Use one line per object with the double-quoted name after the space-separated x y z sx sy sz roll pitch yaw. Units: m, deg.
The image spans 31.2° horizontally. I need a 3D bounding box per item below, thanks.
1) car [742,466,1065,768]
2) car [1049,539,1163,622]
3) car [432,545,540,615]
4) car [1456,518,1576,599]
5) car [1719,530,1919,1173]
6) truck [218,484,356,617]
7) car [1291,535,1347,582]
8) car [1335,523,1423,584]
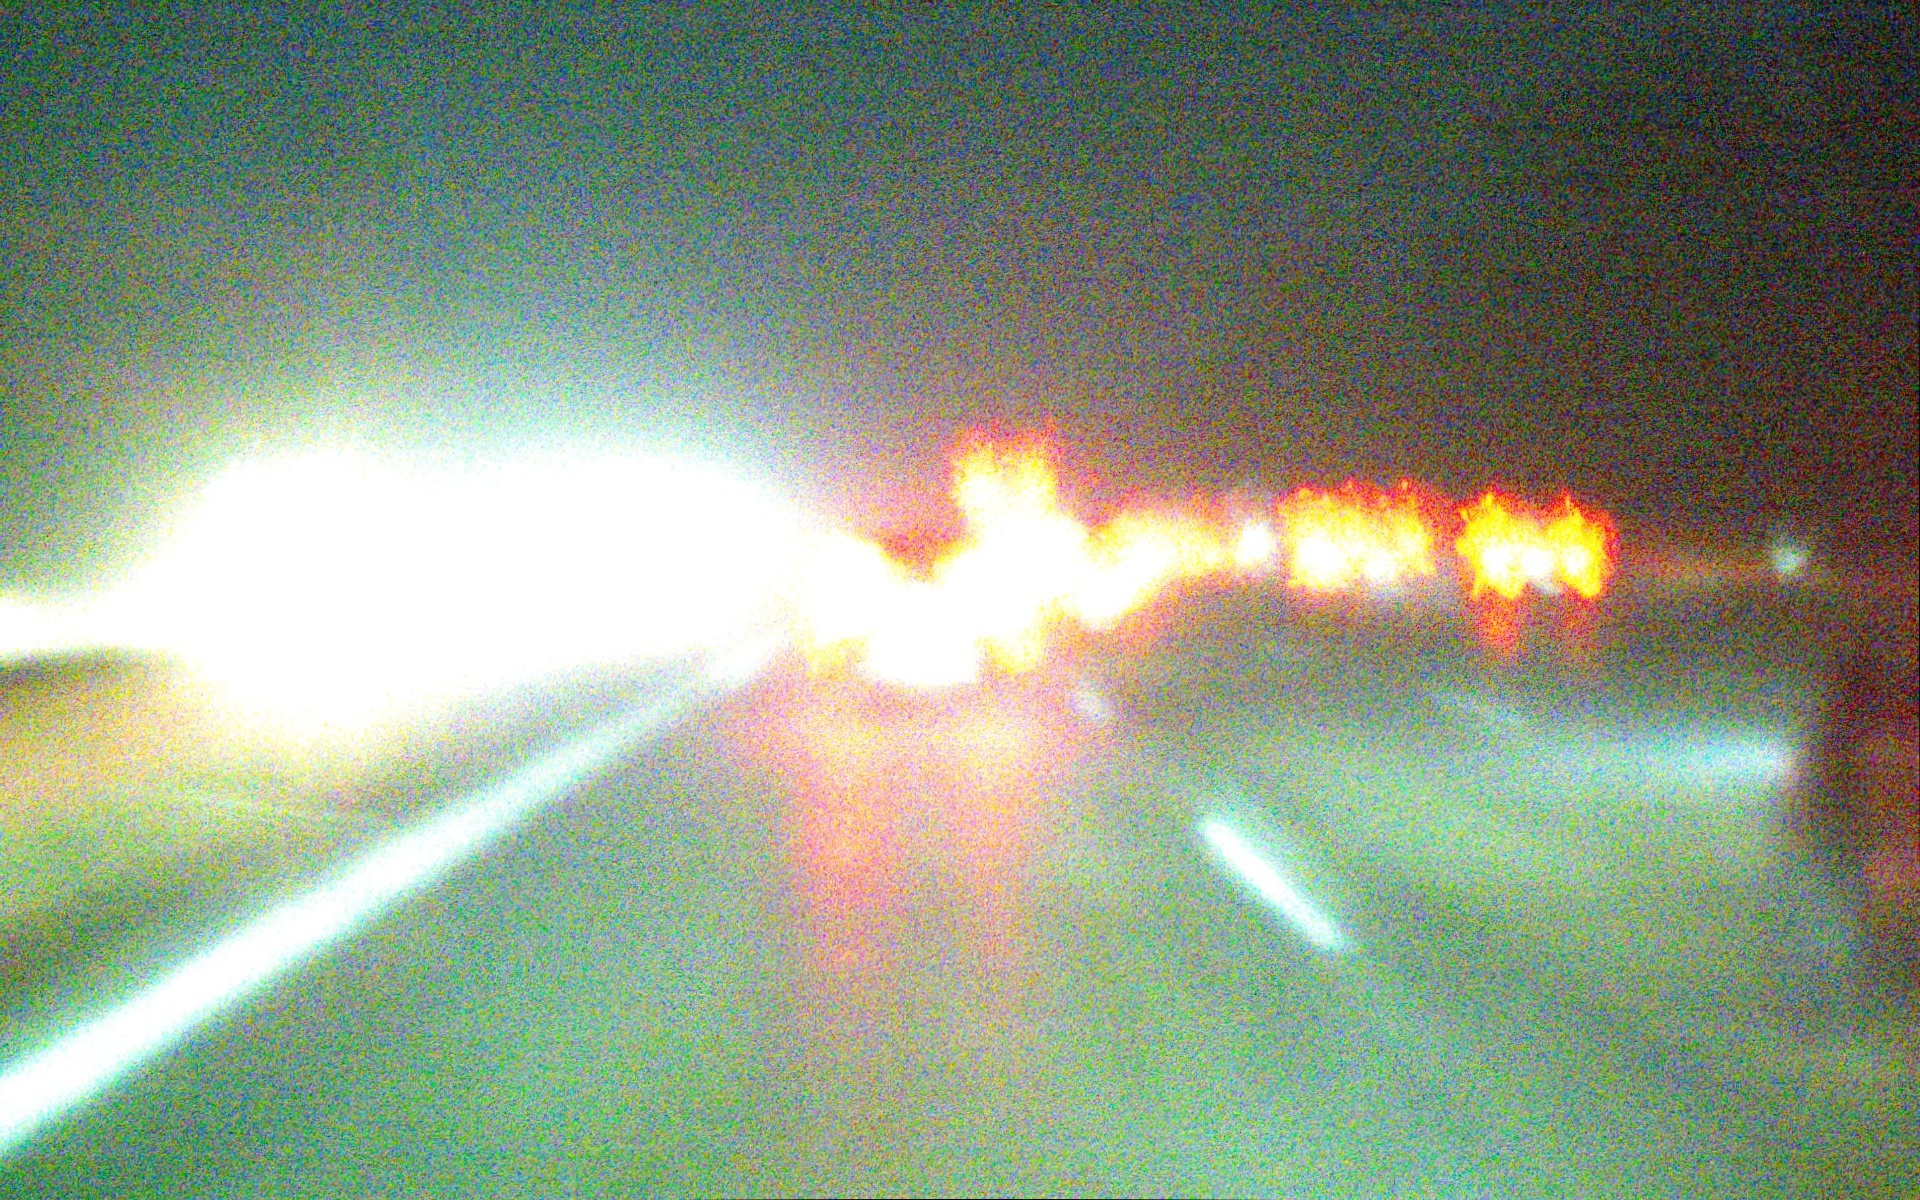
-0.581 0.067 32.694 2.709 2.525 5.832 -2 2 -2 "car"
2.920 -0.415 69.623 2.137 1.612 4.000 1 1 1 "car"
-10.100 -0.446 73.439 1.779 1.437 4.000 -1 1 -1 "car"
11.491 -0.864 71.259 1.856 1.612 4.000 1 1 0 "car"
3.318 0.628 8.631 1.884 1.583 4.000 0 1 -1 "car"
-18.545 -1.370 95.020 2.640 3.567 6.176 0 1 0 "truck"
12.363 -1.425 118.533 1.713 1.553 4.000 1 1 4 "car"
11.653 -1.297 95.771 1.856 1.612 4.000 1 1 -1 "car"
